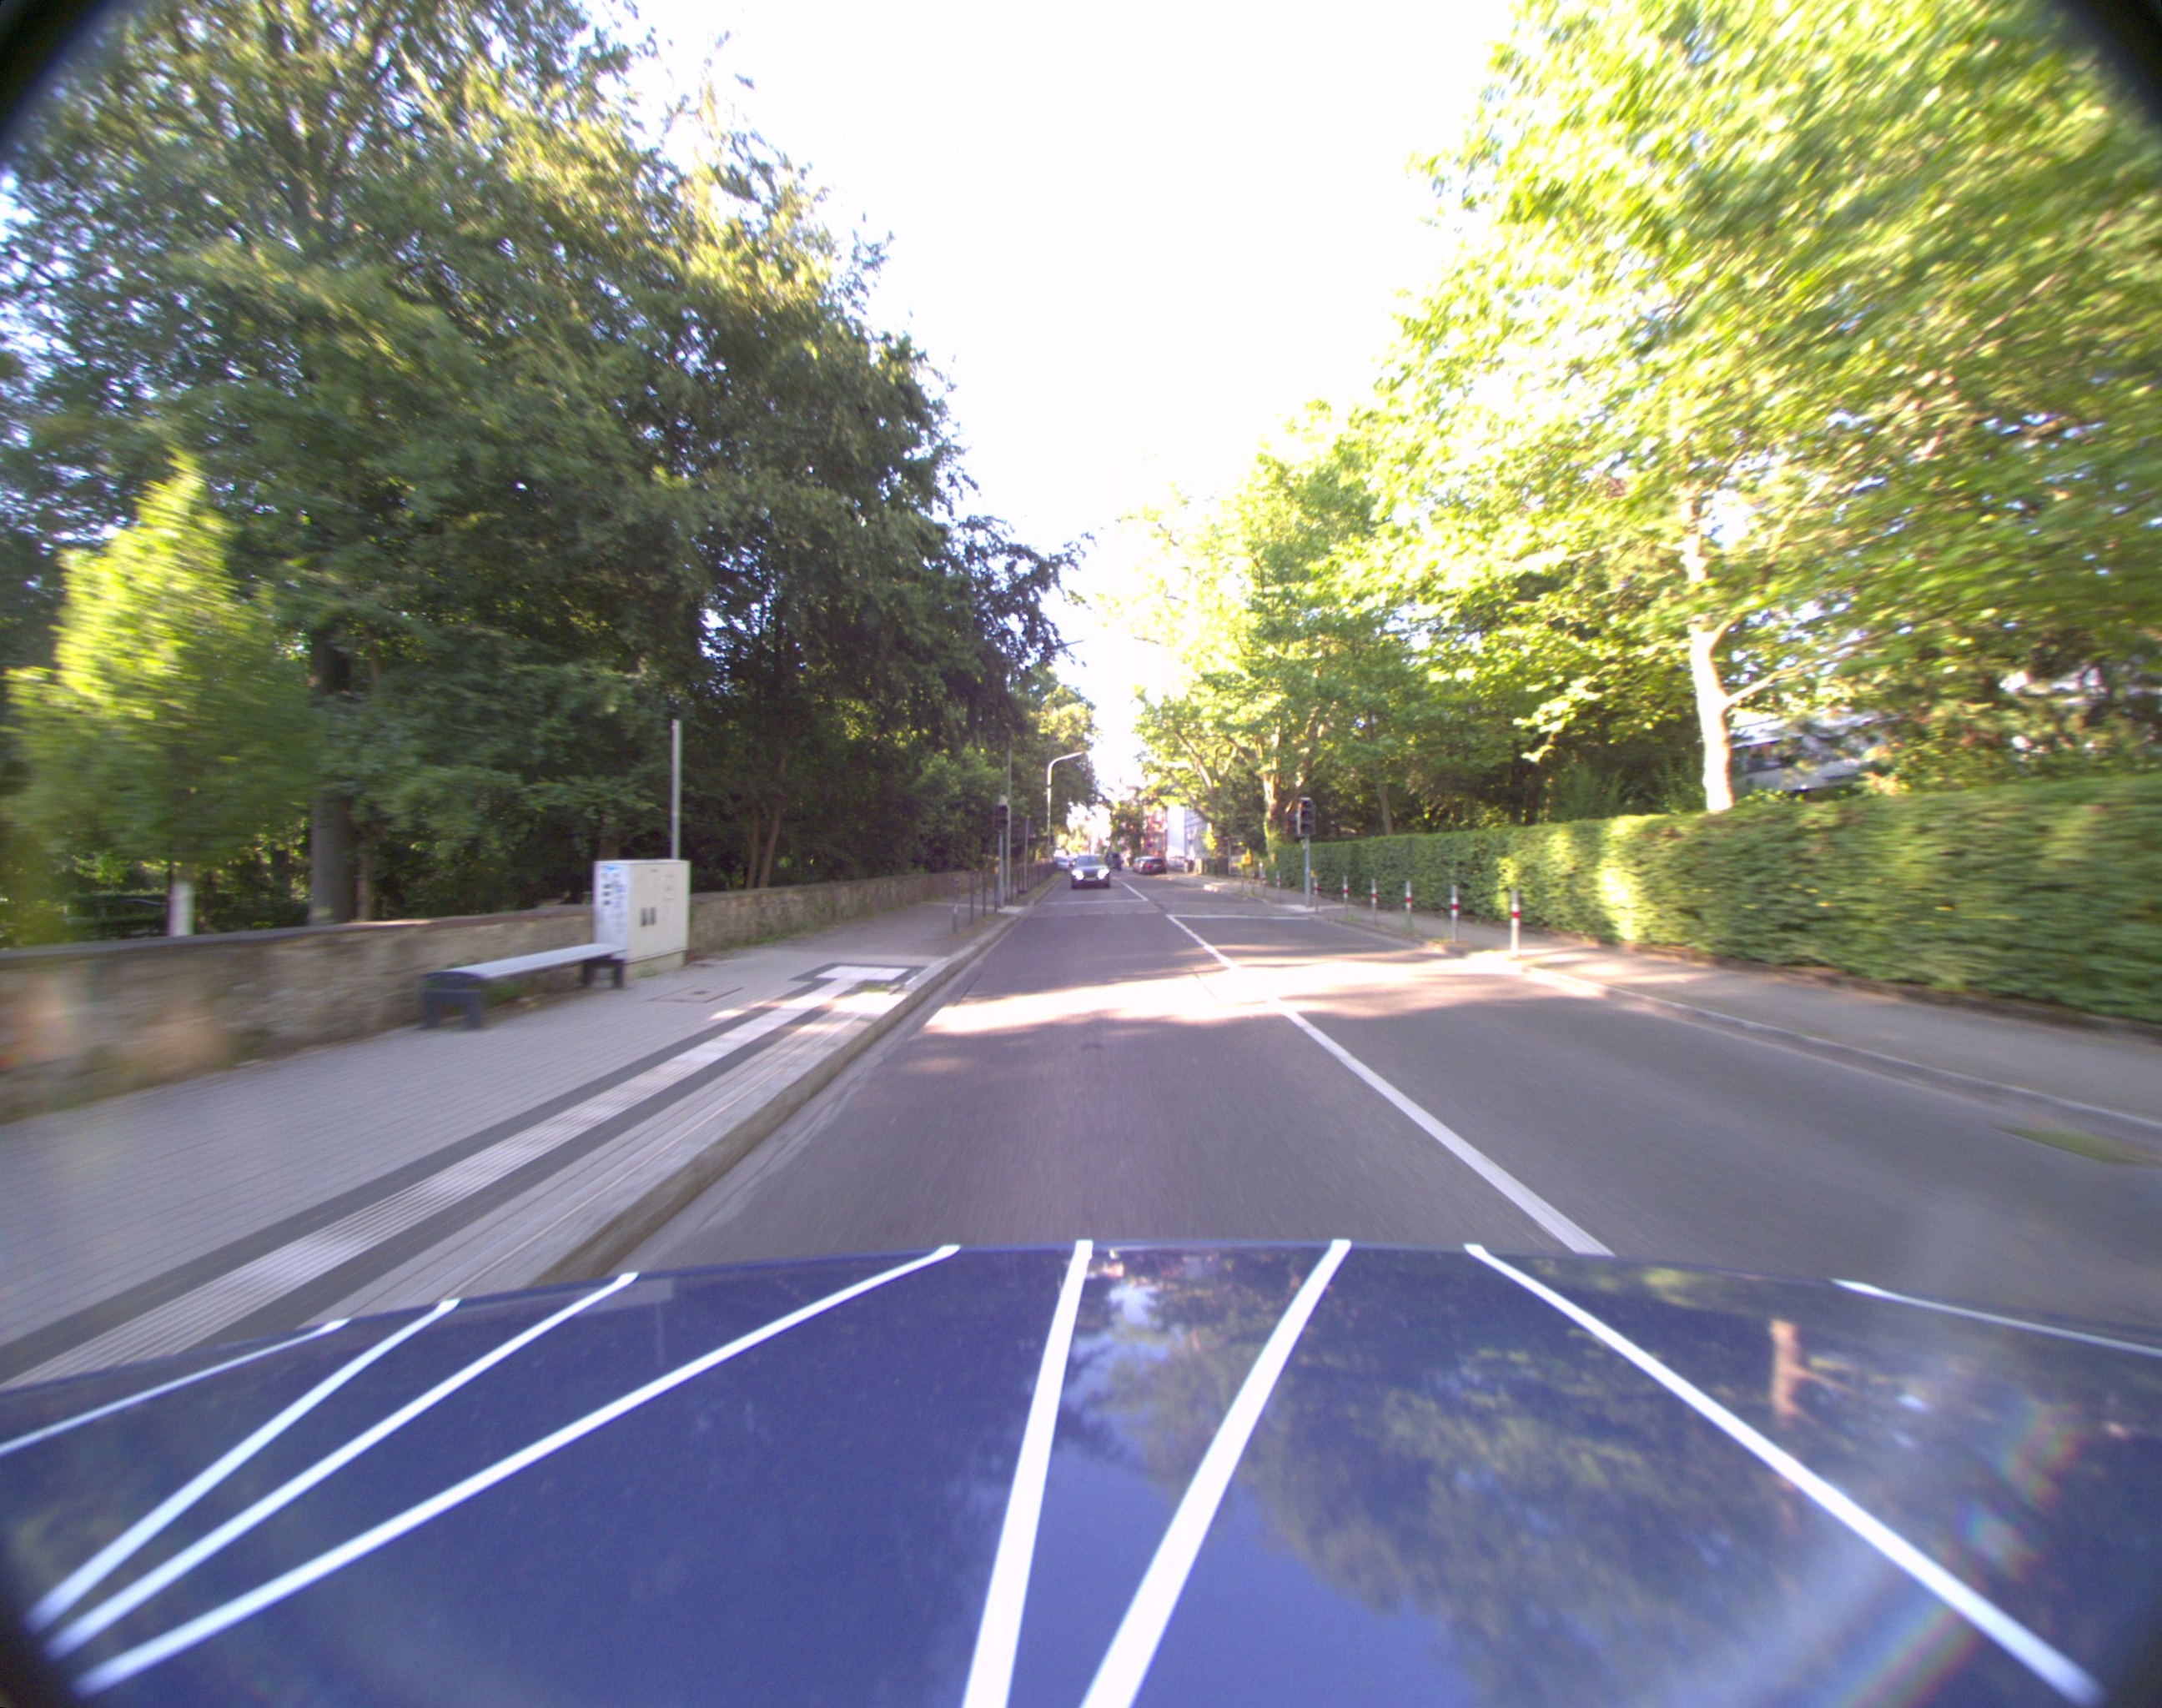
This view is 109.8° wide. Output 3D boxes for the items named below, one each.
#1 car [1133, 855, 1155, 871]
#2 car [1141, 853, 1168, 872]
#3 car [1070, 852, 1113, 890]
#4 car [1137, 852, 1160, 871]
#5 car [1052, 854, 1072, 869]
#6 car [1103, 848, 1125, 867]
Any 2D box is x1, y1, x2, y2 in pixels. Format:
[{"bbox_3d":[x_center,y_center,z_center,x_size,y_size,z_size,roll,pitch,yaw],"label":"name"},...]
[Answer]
[{"bbox_3d":[5.959,0.833,72.273,1.628,1.425,3.559,-2,0,-1],"label":"car"},{"bbox_3d":[5.968,0.659,62.088,1.689,1.425,3.616,-4,0,-1],"label":"car"},{"bbox_3d":[0.575,0.781,36.748,1.936,1.676,4.433,-1,0,2],"label":"car"},{"bbox_3d":[5.957,0.648,67.211,1.628,1.537,3.322,-1,0,-1],"label":"car"},{"bbox_3d":[-2.048,0.775,80.455,1.824,1.375,3.933,2,1,-4],"label":"car"},{"bbox_3d":[3.480,0.389,81.432,1.999,1.957,4.776,1,0,-2],"label":"car"}]
